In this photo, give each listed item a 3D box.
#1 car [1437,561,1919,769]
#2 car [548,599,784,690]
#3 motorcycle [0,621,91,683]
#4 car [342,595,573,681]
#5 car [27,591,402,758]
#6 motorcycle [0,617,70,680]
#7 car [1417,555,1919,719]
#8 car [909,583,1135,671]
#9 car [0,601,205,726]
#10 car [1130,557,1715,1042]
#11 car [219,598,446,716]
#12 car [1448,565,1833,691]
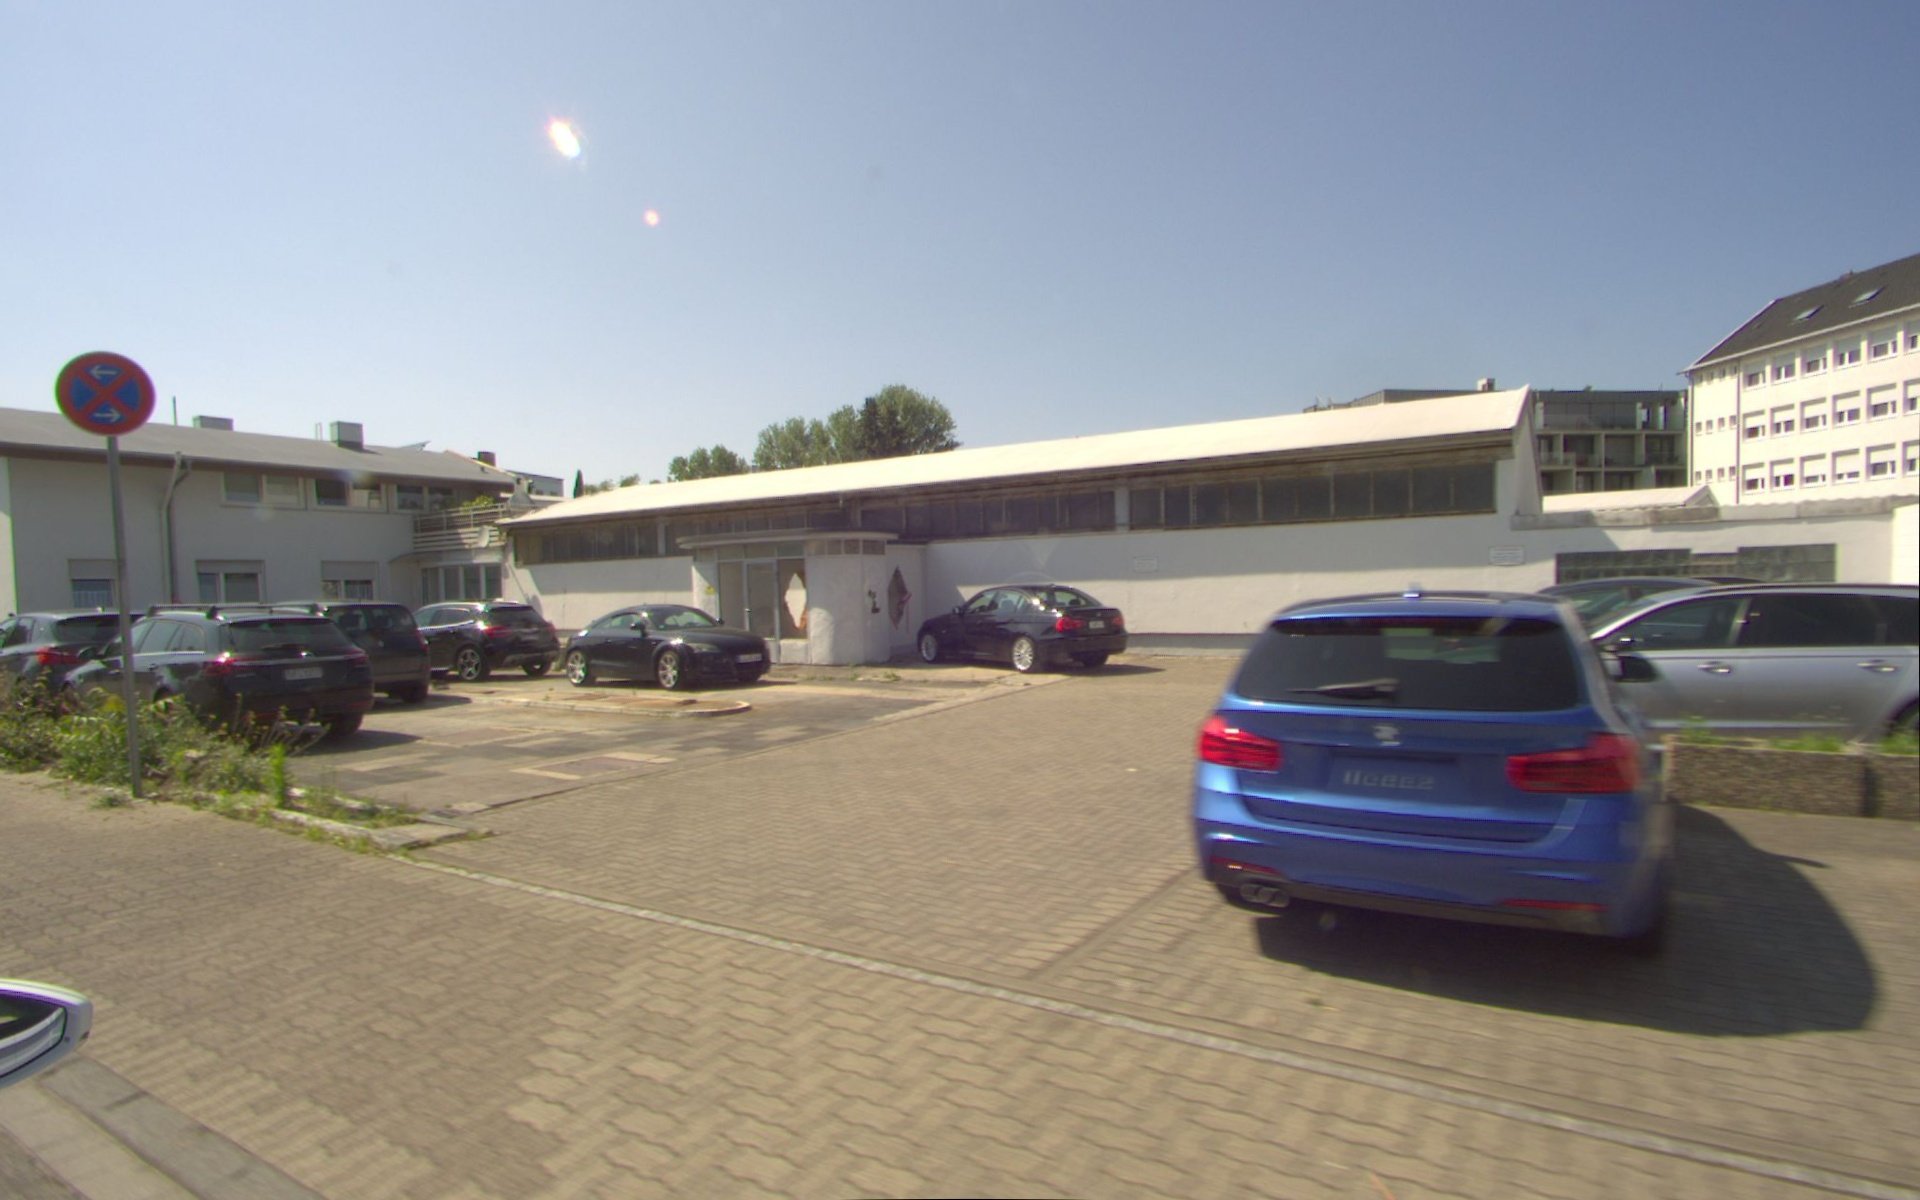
[{"bbox_3d":[6.437,0.469,8.258,4.389,1.460,1.883,-2,0,30],"label":"car"},{"bbox_3d":[-5.011,0.718,16.879,4.046,1.342,1.636,-2,0,35],"label":"car"},{"bbox_3d":[-21.430,1.182,23.189,0.783,1.297,1.749,-1,2,24],"label":"motorcycle"},{"bbox_3d":[-9.907,0.750,19.754,4.079,1.516,1.760,-2,2,22],"label":"car"},{"bbox_3d":[-8.812,0.764,11.713,4.881,1.588,1.854,-1,1,32],"label":"car"},{"bbox_3d":[-20.982,1.087,22.047,0.785,1.297,1.865,-1,2,30],"label":"motorcycle"},{"bbox_3d":[7.396,0.351,10.874,4.132,1.461,1.879,-2,1,36],"label":"car"},{"bbox_3d":[0.964,0.437,17.675,1.694,1.342,4.157,-2,0,-36],"label":"car"},{"bbox_3d":[-13.191,0.871,14.820,4.231,1.579,1.807,-1,1,32],"label":"car"},{"bbox_3d":[2.608,0.603,5.359,1.865,1.460,4.344,-1,0,32],"label":"car"},{"bbox_3d":[-9.739,0.843,15.484,3.571,1.615,1.755,-1,-3,36],"label":"car"},{"bbox_3d":[8.860,0.343,13.323,3.975,1.411,1.879,-2,1,36],"label":"car"}]
